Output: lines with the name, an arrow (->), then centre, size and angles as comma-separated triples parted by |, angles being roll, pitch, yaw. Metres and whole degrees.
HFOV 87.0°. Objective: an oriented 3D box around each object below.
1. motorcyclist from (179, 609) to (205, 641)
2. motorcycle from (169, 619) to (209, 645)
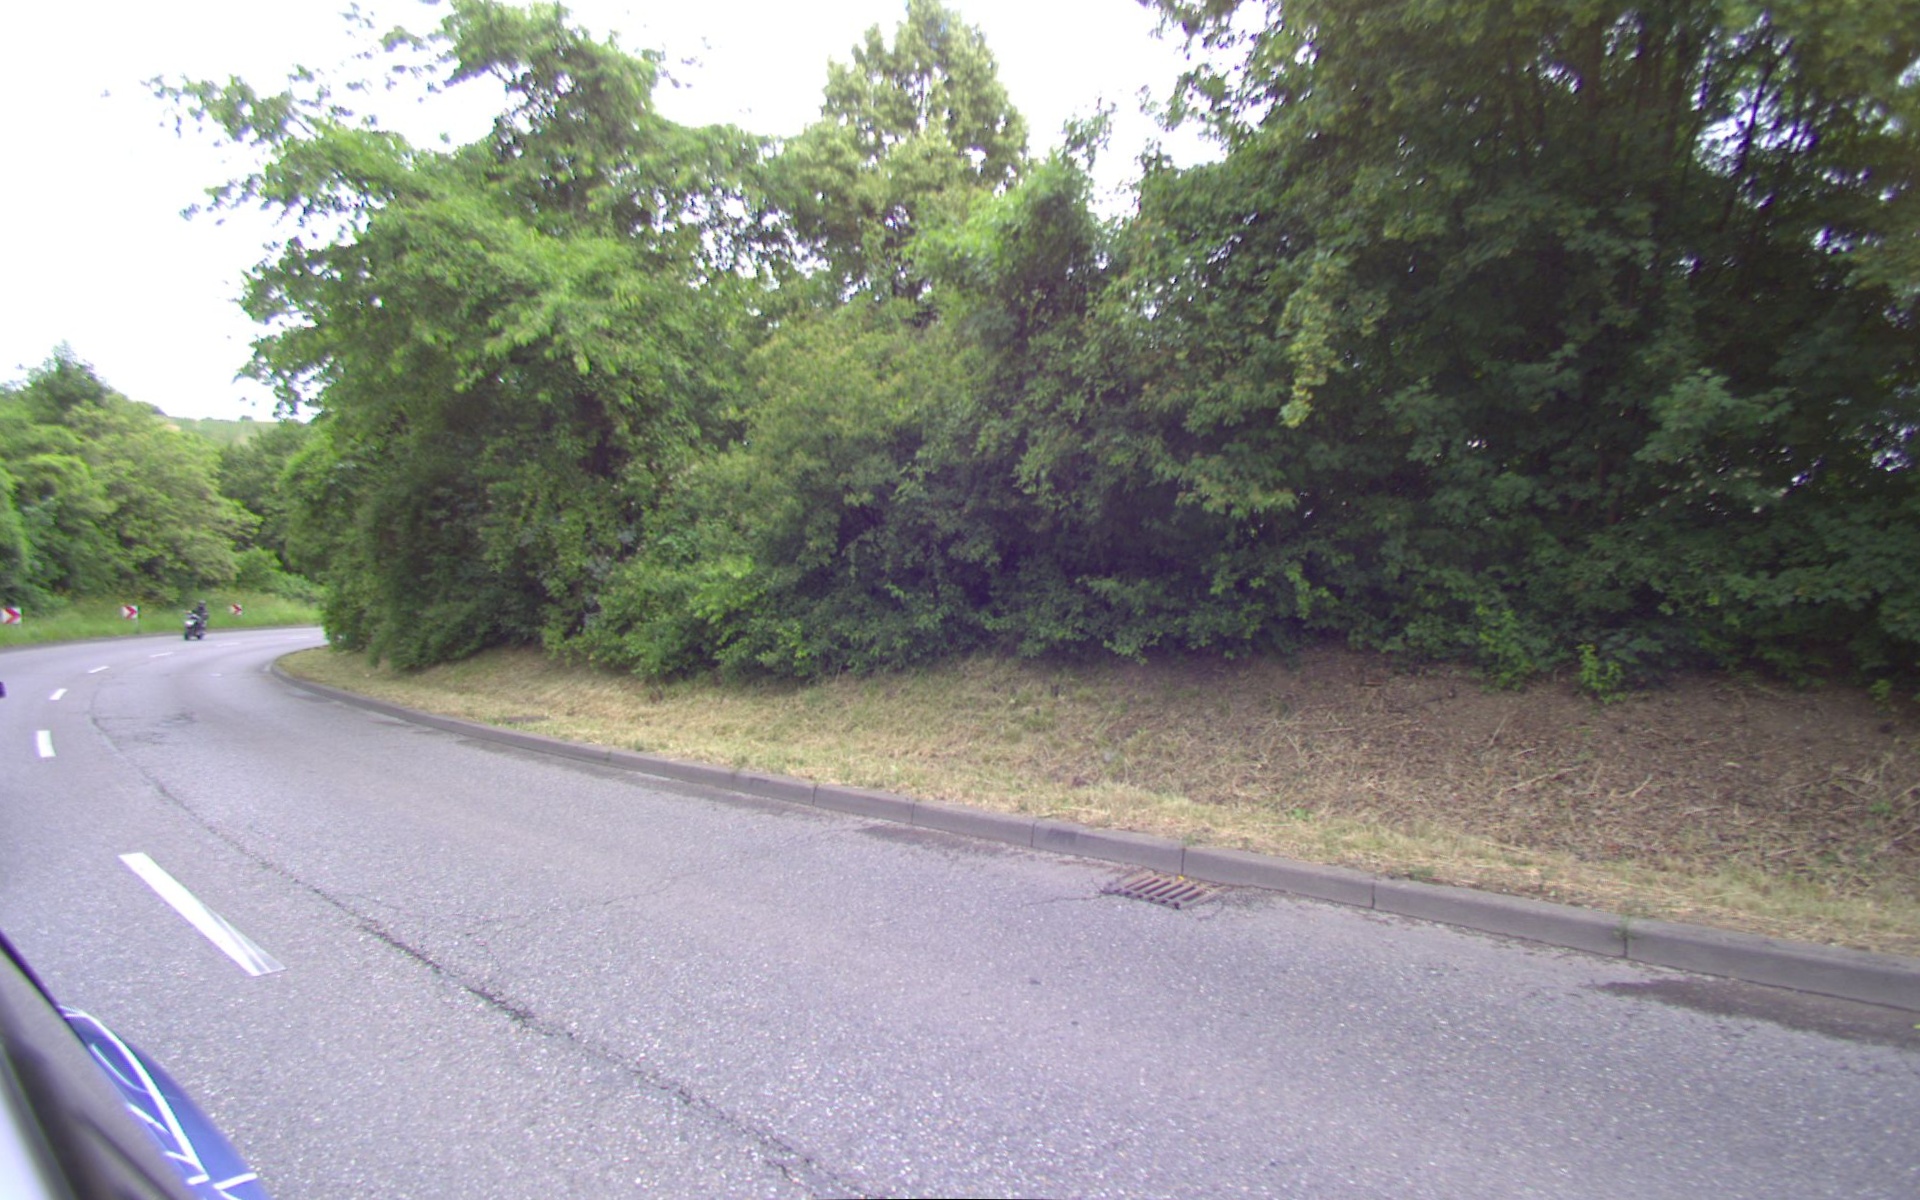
motorcyclist -> -32.705, 1.054, 43.098 | 0.558, 1.304, 0.708 | 3, -1, -12
motorcycle -> -32.707, 1.352, 42.971 | 0.667, 1.019, 1.679 | 3, -1, -13
